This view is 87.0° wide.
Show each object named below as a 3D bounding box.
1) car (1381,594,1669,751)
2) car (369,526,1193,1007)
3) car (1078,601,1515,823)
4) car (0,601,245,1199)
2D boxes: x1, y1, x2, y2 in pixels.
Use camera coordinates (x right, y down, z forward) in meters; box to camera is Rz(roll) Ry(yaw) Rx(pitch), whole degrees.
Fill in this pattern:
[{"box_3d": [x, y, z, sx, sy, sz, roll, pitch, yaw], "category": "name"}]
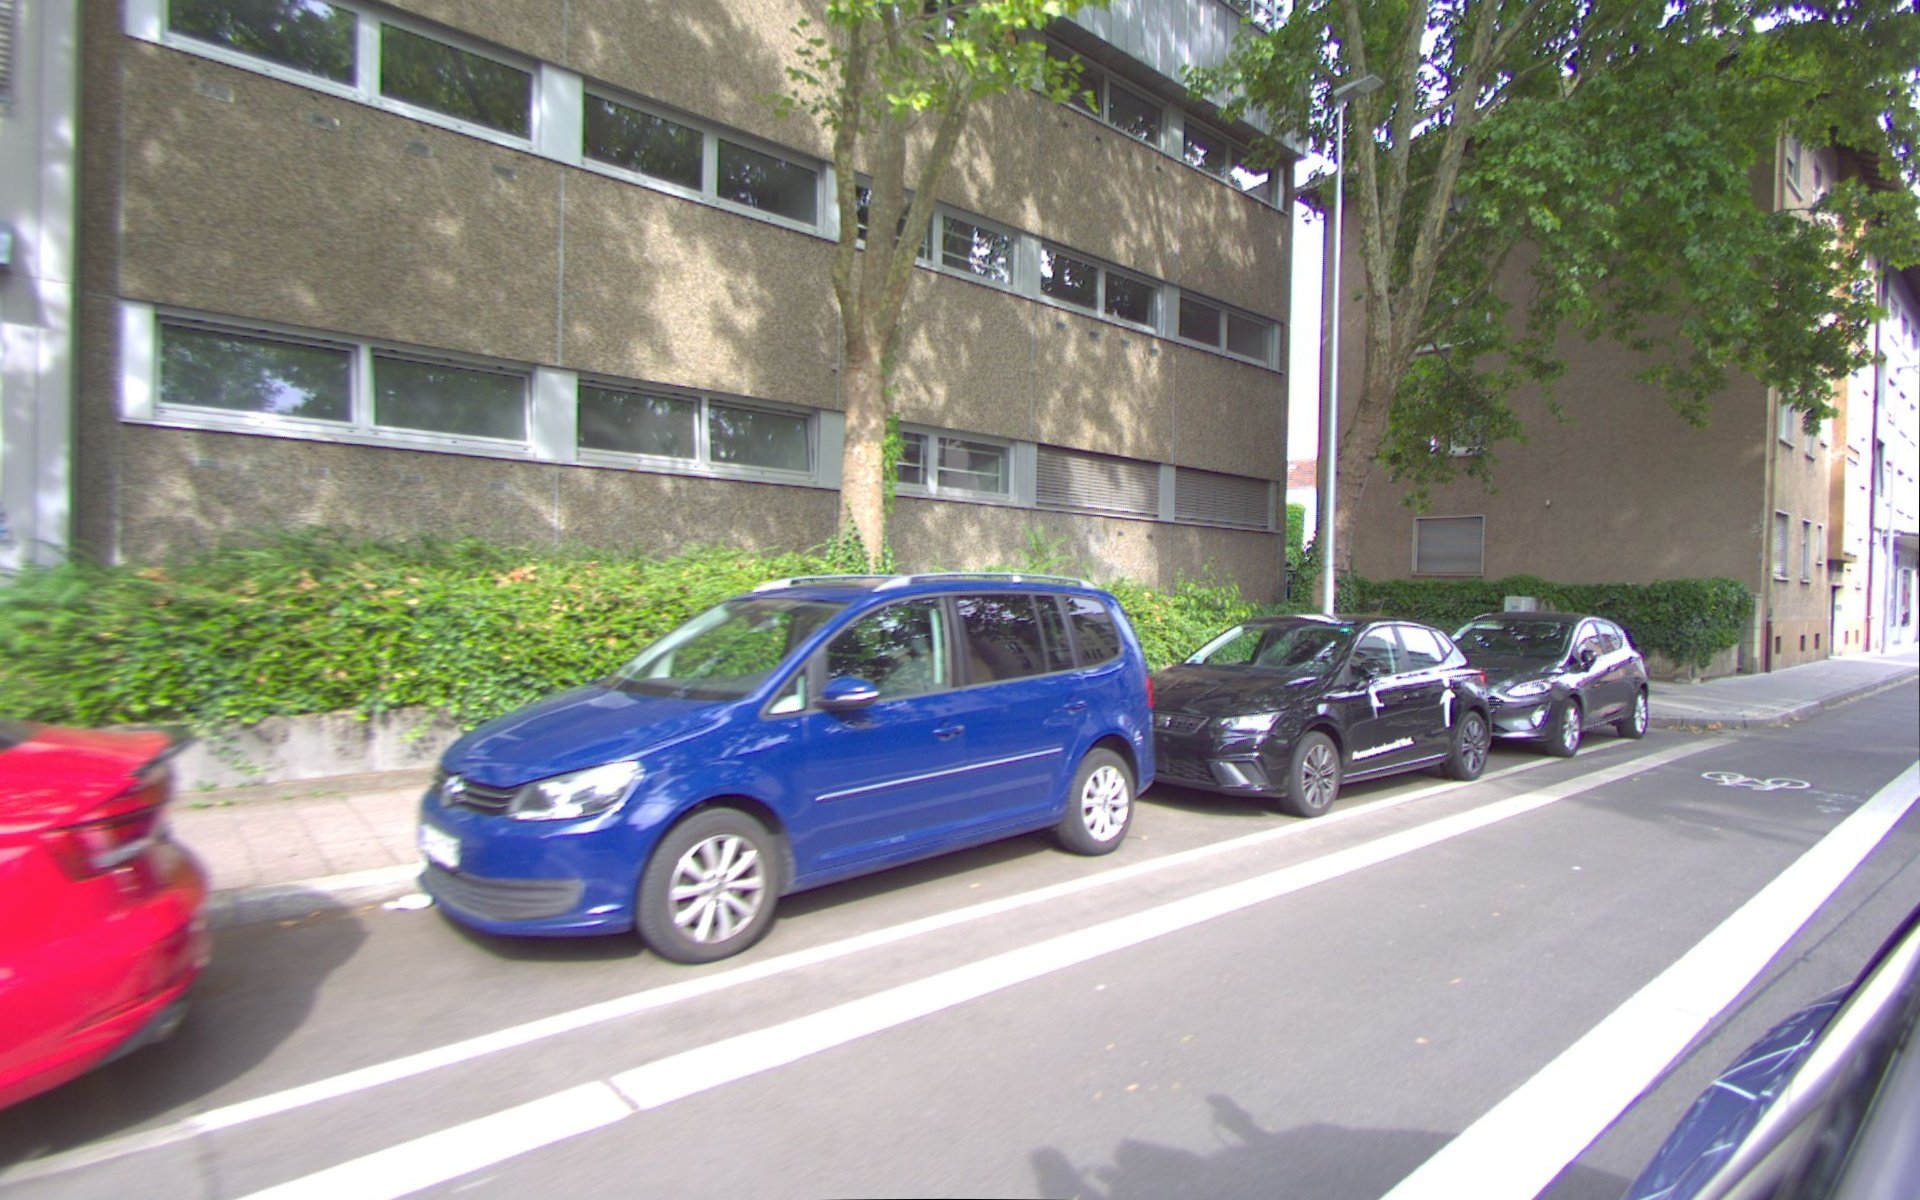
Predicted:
[{"box_3d": [6.496, 0.737, 11.474, 3.798, 1.440, 1.661, 2, 0, -41], "category": "car"}, {"box_3d": [-0.620, 0.602, 5.643, 4.346, 1.672, 1.659, 1, -1, -44], "category": "car"}, {"box_3d": [2.933, 0.766, 8.444, 3.875, 1.440, 1.661, 1, -1, -39], "category": "car"}, {"box_3d": [-4.086, 0.712, 1.846, 4.384, 1.411, 1.678, 1, 1, -42], "category": "car"}]
